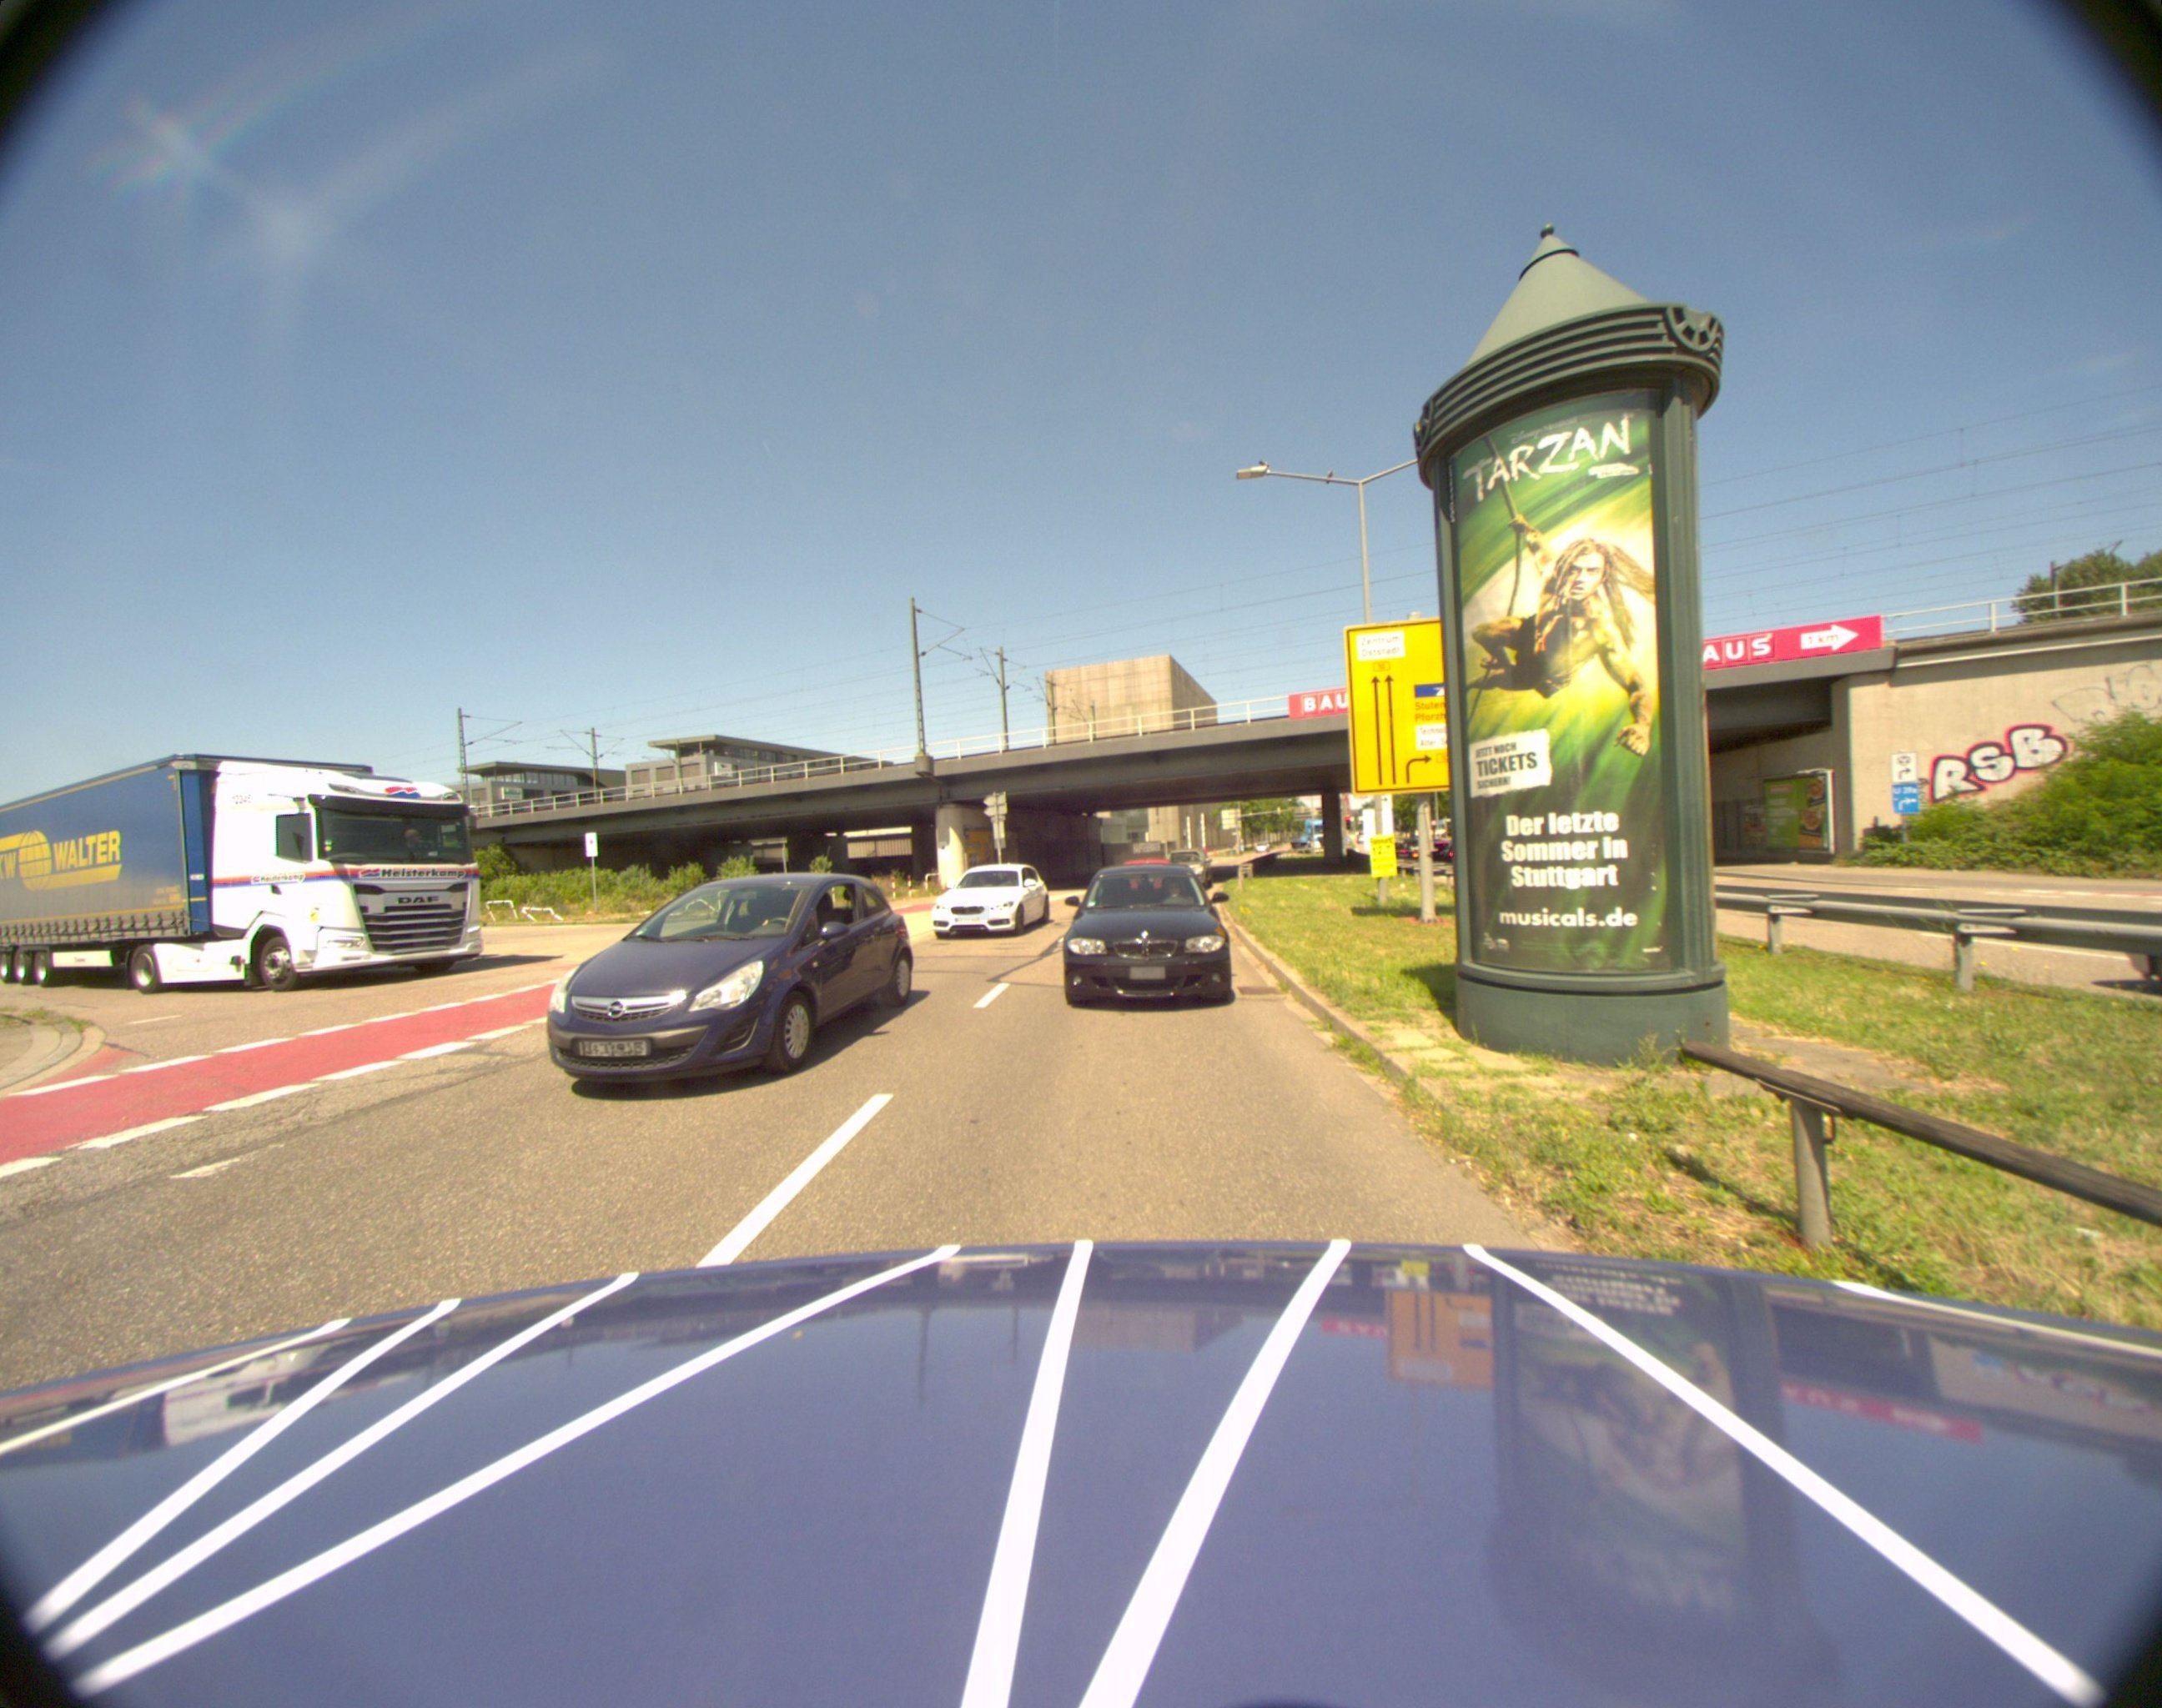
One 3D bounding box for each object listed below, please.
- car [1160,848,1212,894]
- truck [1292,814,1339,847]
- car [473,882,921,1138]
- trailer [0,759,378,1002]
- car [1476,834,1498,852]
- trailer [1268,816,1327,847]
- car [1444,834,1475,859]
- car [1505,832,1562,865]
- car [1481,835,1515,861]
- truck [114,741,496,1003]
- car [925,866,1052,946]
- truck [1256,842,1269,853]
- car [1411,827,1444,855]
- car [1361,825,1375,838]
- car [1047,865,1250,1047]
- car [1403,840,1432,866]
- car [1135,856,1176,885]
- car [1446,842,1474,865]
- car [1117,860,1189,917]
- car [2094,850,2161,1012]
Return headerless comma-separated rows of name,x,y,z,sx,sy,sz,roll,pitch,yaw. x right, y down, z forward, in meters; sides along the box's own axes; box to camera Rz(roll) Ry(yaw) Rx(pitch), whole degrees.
car,4.335,0.635,31.050,1.844,1.686,3.702,-2,1,11
truck,25.945,-2.497,84.359,3.021,3.397,6.564,-2,1,-2
car,-2.820,1.053,6.674,1.649,1.435,3.893,-2,0,5
trailer,-20.759,0.755,16.782,13.872,4.066,2.504,-3,0,25
car,28.395,-0.783,53.178,1.183,1.241,2.696,-2,1,24
trailer,25.855,-2.561,91.596,2.963,3.353,13.891,-2,0,0
car,24.054,-0.500,48.406,1.617,1.468,3.438,-2,1,24
car,24.491,-0.337,41.266,1.774,1.658,4.020,-2,1,18
car,25.792,-0.408,47.103,1.571,1.494,3.412,-2,1,24
truck,-14.221,0.358,13.998,5.750,4.078,2.579,-2,1,19
car,-1.850,1.029,16.505,1.761,1.435,4.055,-1,0,8
truck,25.701,-0.978,107.464,1.729,1.493,4.003,-2,1,13
car,25.017,-0.927,54.981,1.904,1.849,4.005,-2,1,21
car,46.793,-3.701,123.881,1.995,2.002,4.005,-2,1,22
car,0.695,0.914,8.554,1.681,1.409,4.057,-2,1,3
car,18.878,-0.077,42.701,1.410,1.311,3.266,-2,1,24
car,4.279,0.889,43.145,1.715,1.434,4.004,-2,1,14
car,21.244,-0.036,42.617,1.269,1.178,2.782,-2,1,24
car,2.082,0.876,20.984,1.645,1.390,4.056,-1,0,10
car,10.114,0.672,4.908,1.638,1.395,4.222,-1,0,3
